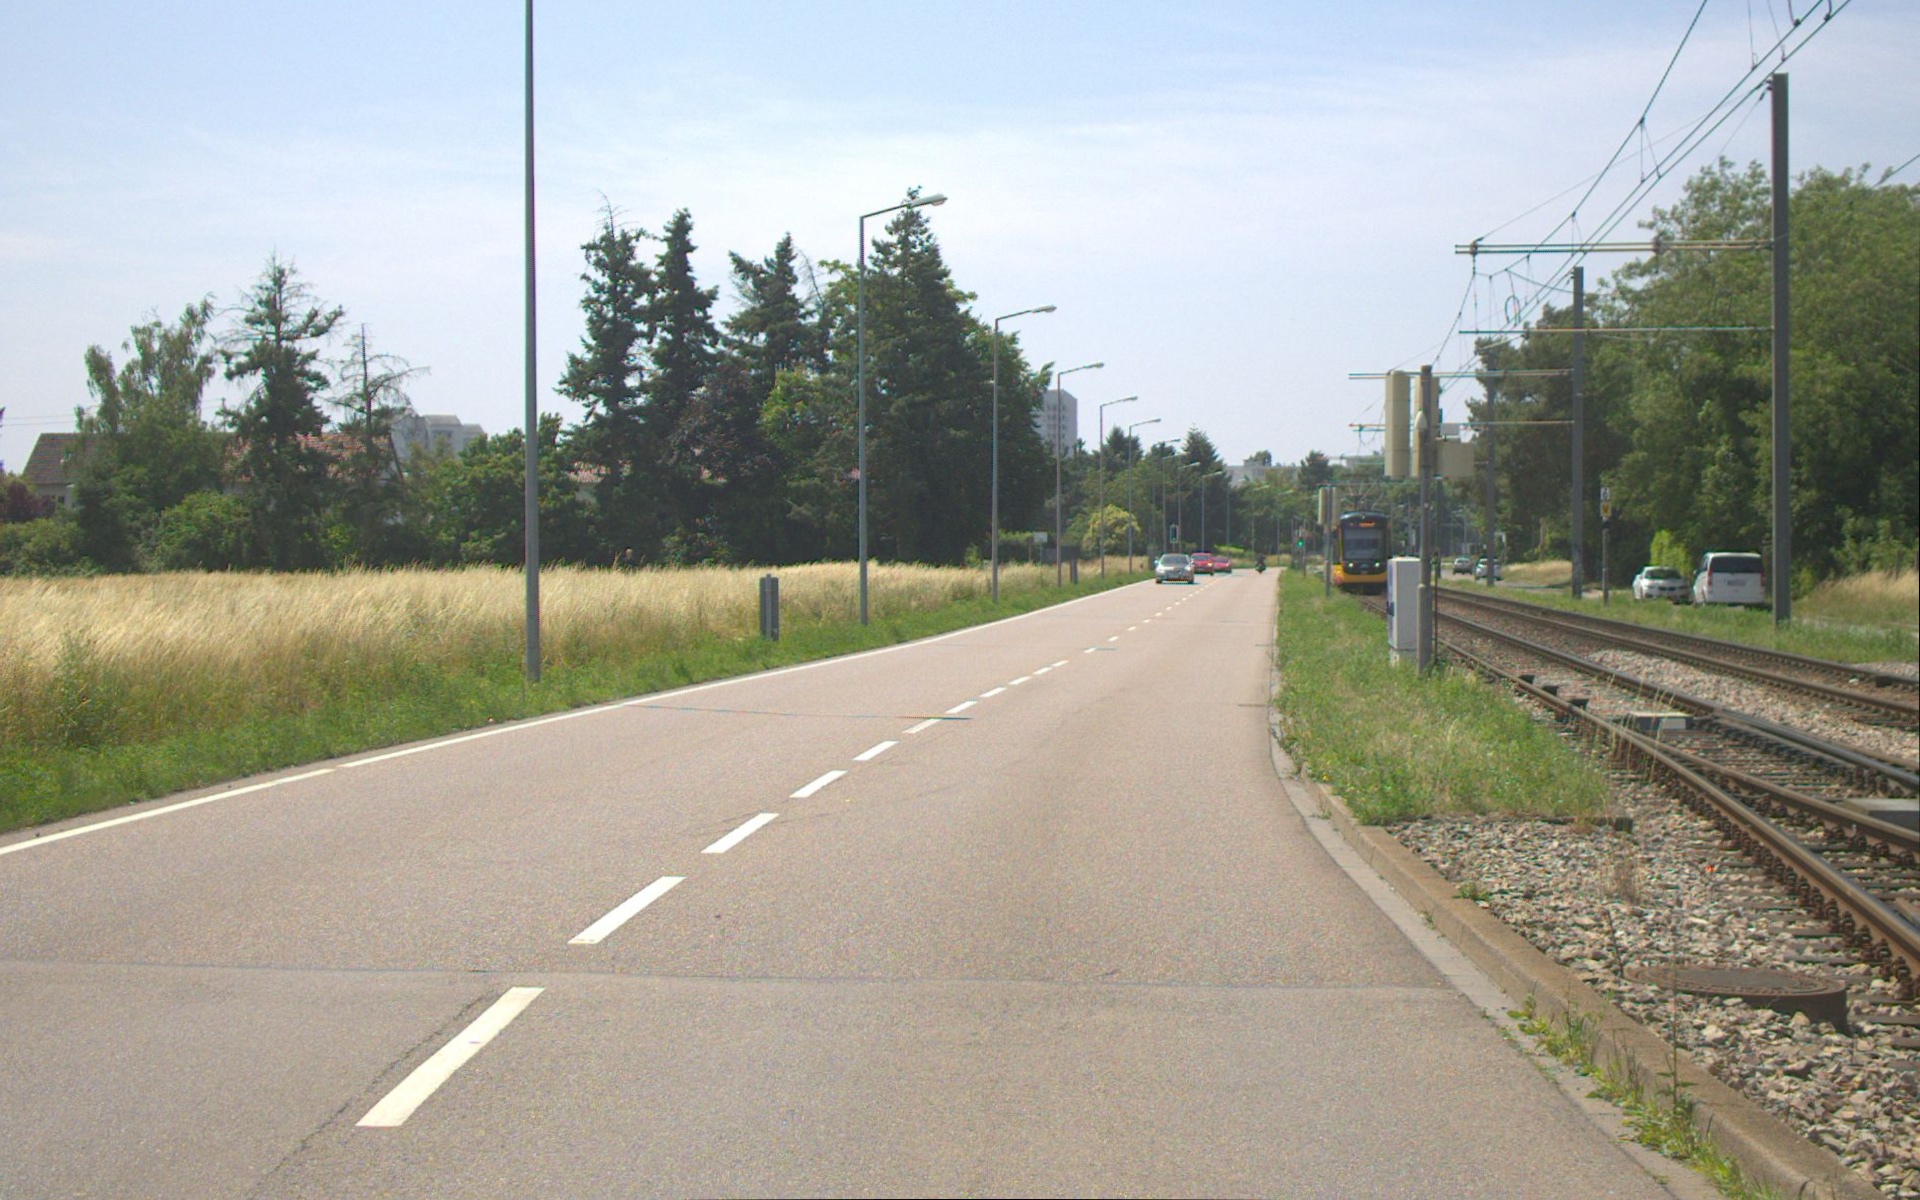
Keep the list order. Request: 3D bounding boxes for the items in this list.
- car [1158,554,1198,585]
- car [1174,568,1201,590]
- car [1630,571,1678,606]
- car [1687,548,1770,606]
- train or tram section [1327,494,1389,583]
[{"bbox_3d":[10.934,-1.530,172.247,1.834,1.462,4.677,0,0,5],"label":"car"},{"bbox_3d":[14.828,-1.337,224.233,1.645,1.395,3.844,0,0,5],"label":"car"},{"bbox_3d":[26.086,-0.417,129.278,1.428,1.303,3.465,0,0,5],"label":"car"},{"bbox_3d":[24.621,-0.722,110.210,1.994,1.796,4.793,0,0,5],"label":"car"},{"bbox_3d":[17.957,-2.699,155.529,2.429,3.753,11.557,0,0,5],"label":"train or tram section"}]
